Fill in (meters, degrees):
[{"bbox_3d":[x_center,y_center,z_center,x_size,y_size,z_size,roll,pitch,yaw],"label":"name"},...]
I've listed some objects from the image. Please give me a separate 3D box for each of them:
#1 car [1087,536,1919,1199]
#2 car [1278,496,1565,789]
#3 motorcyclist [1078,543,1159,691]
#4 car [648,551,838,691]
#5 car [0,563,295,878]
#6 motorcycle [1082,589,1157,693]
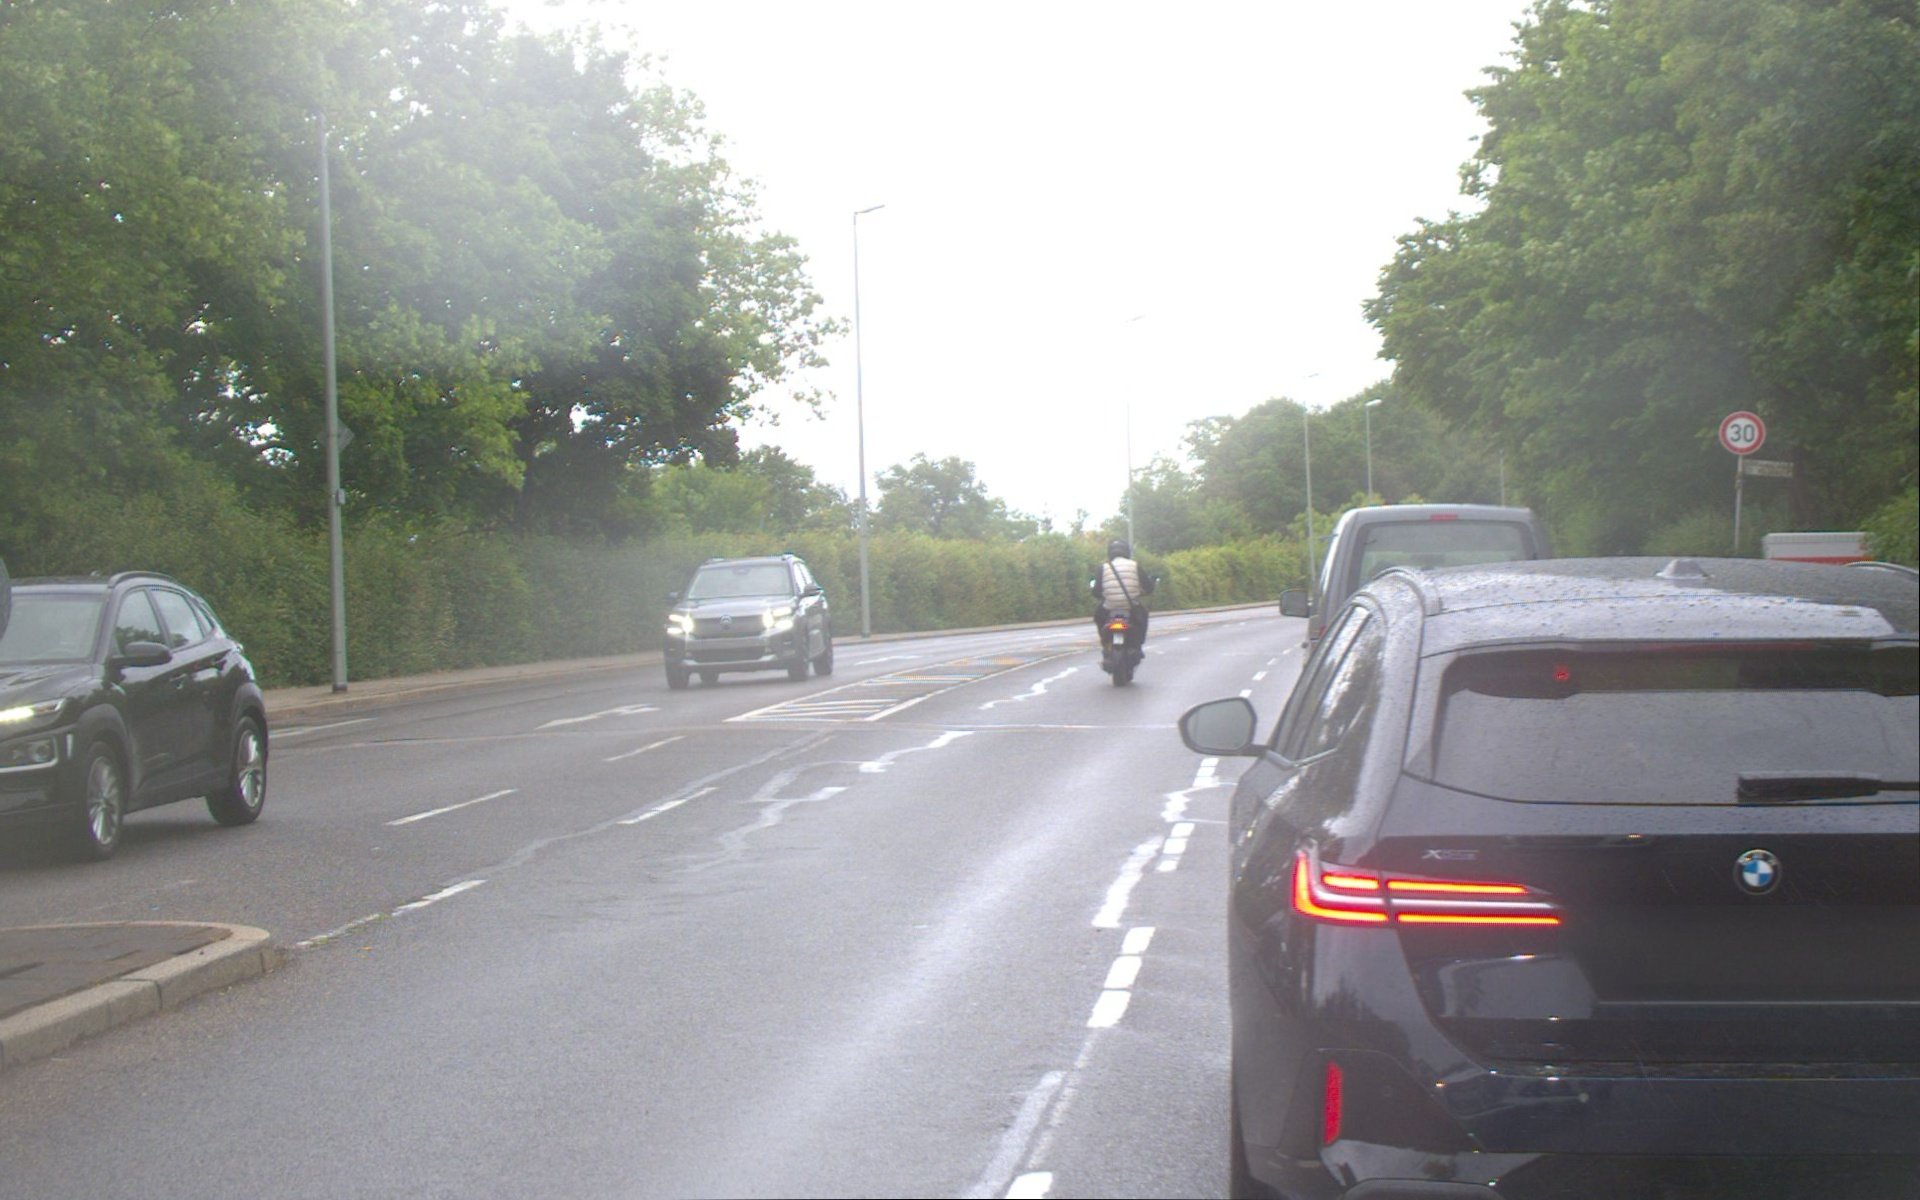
[{"bbox_3d":[1.326,0.629,7.889,1.765,1.531,3.672,-1,1,7],"label":"car"},{"bbox_3d":[3.122,0.211,23.516,1.767,1.803,3.904,-1,2,7],"label":"car"},{"bbox_3d":[1.792,0.190,38.809,0.845,1.641,0.468,-1,1,7],"label":"motorcyclist"},{"bbox_3d":[-2.690,0.234,43.409,1.795,1.597,3.731,-3,1,5],"label":"car"},{"bbox_3d":[-5.352,0.629,19.435,2.026,1.558,3.876,-3,1,6],"label":"car"},{"bbox_3d":[1.812,0.455,38.974,0.741,1.115,1.426,0,2,7],"label":"motorcycle"}]
